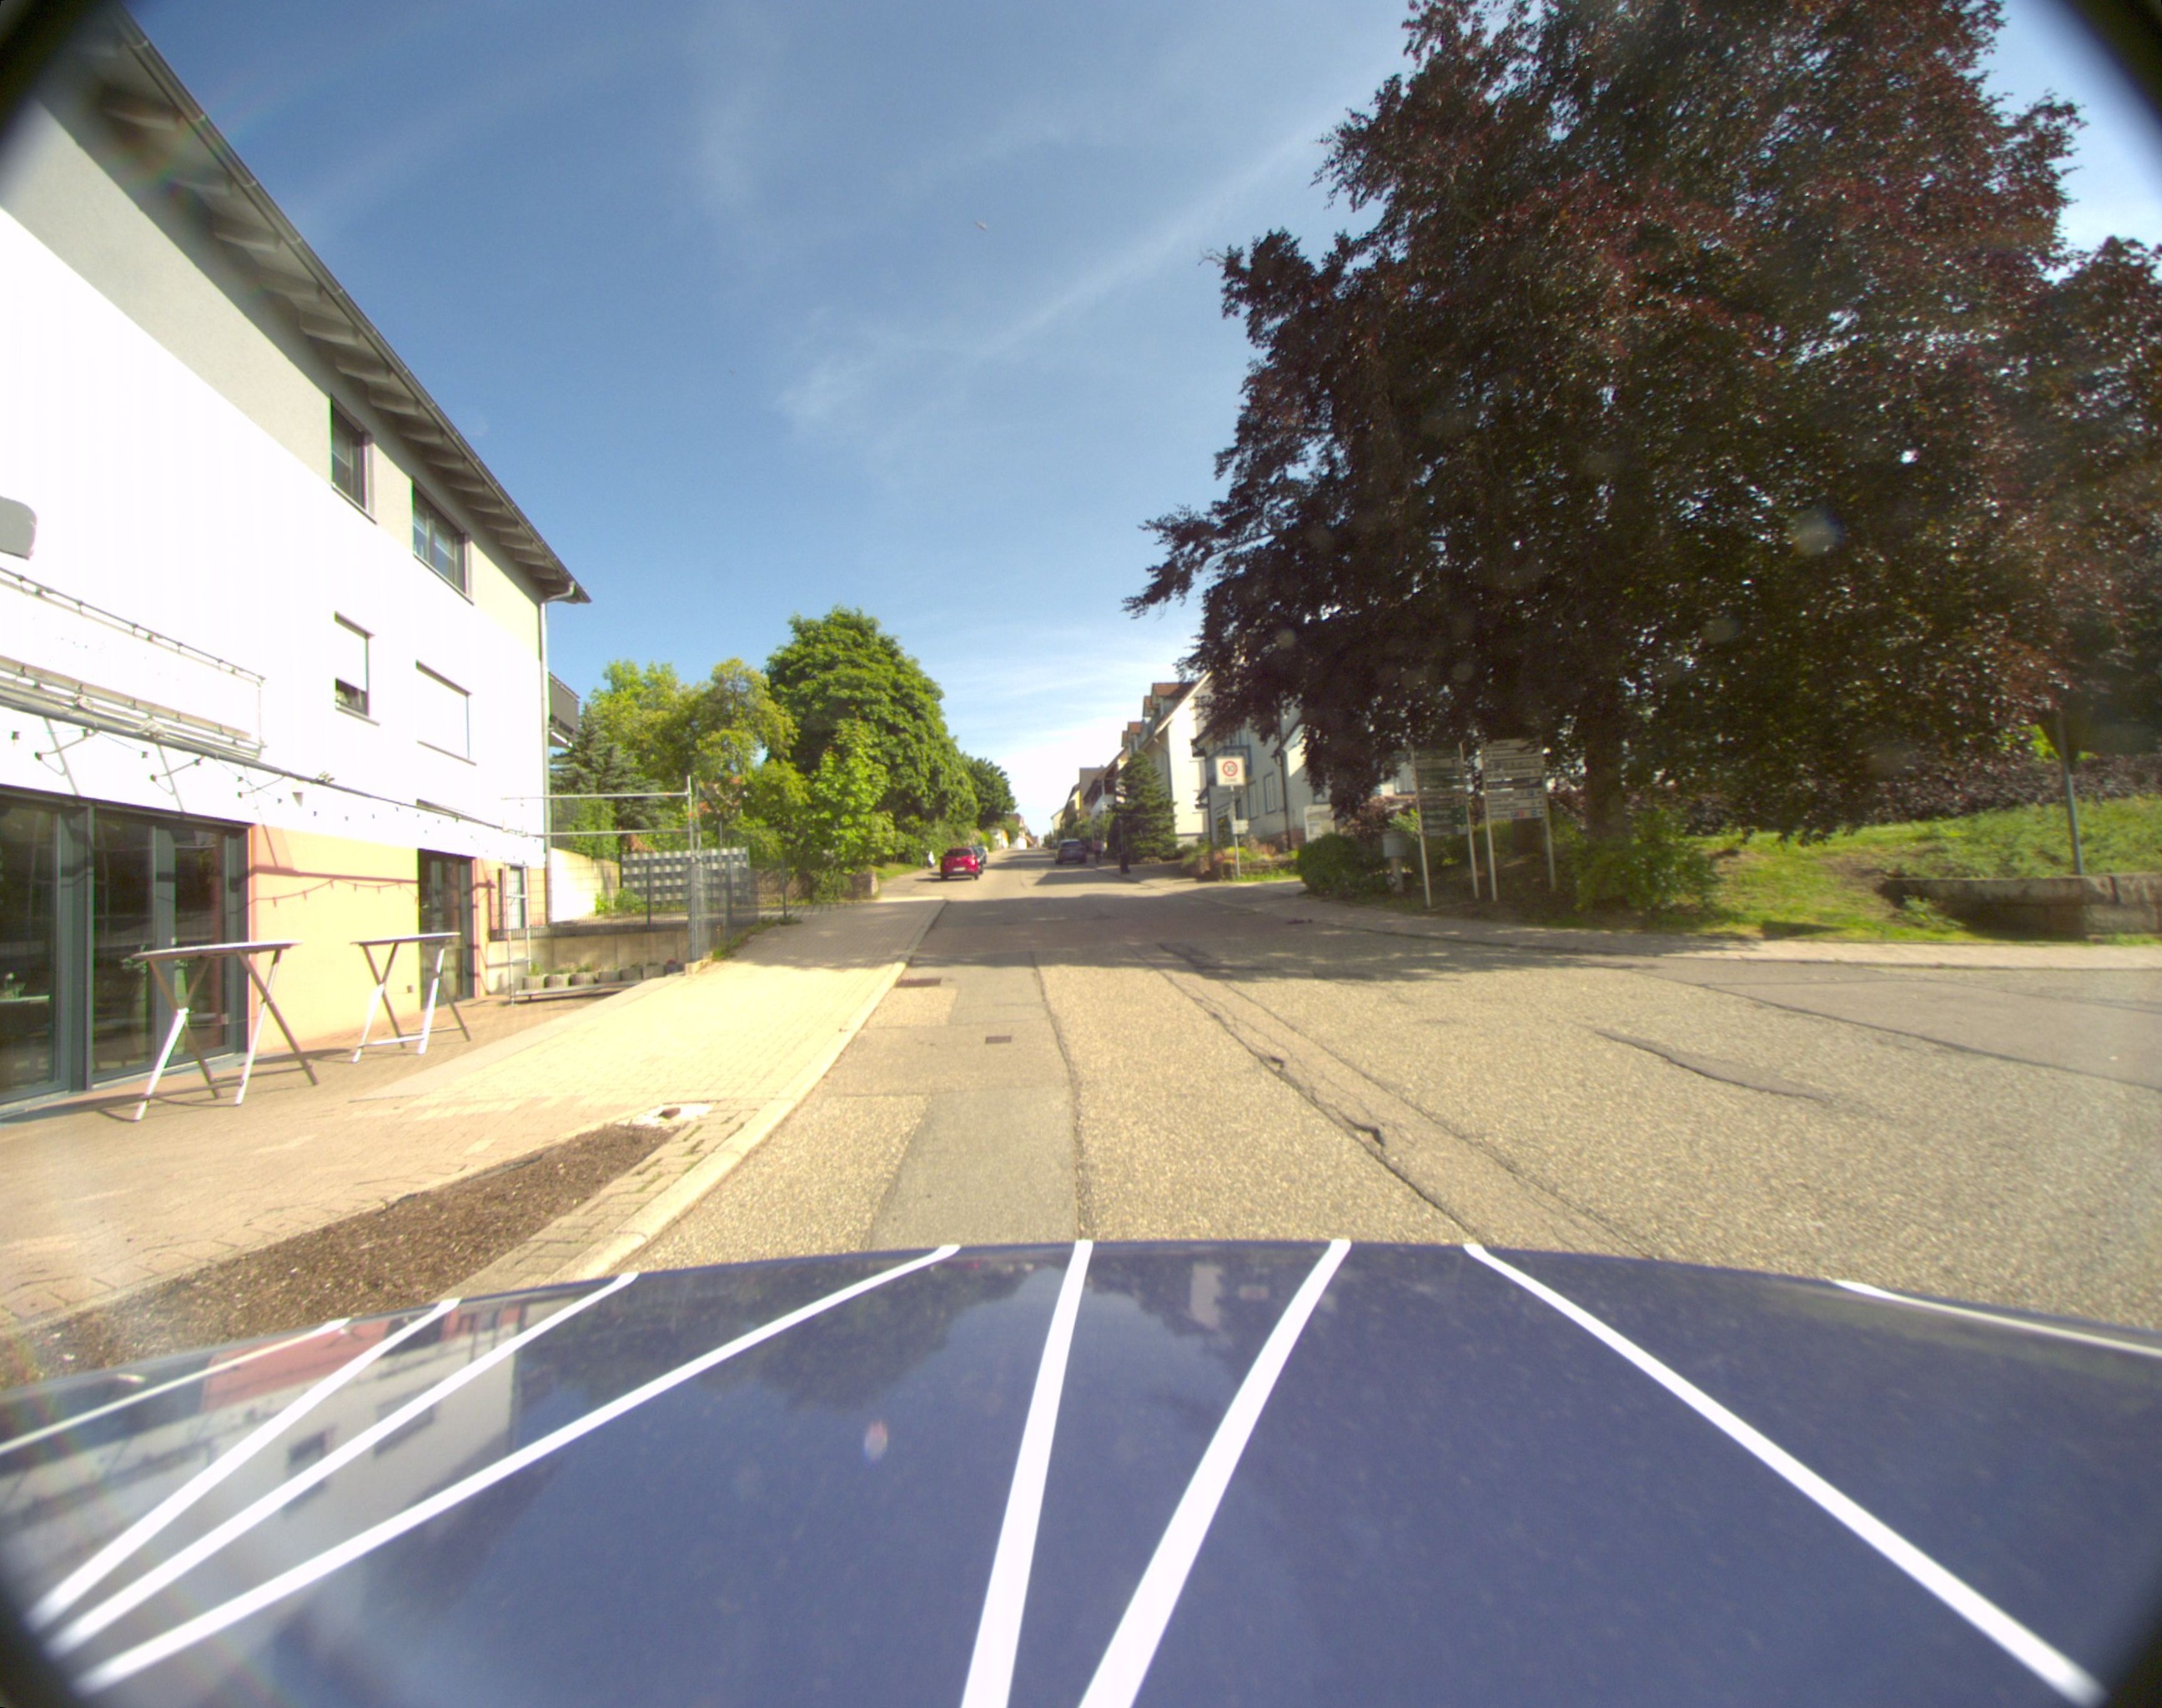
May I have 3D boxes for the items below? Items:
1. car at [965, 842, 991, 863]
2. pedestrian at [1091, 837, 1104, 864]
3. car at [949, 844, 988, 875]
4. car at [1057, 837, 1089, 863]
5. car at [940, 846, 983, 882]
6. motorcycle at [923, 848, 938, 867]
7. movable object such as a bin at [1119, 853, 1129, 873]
[{"bbox_3d":[-8.015,-0.132,59.193,1.776,1.462,3.808,-3,1,-5],"label":"car"},{"bbox_3d":[0.986,-0.223,45.580,0.668,1.566,0.780,-2,2,1],"label":"pedestrian"},{"bbox_3d":[-6.001,0.254,40.790,1.776,1.462,3.808,-3,1,-5],"label":"car"},{"bbox_3d":[-0.593,-0.297,51.972,1.808,1.592,3.808,-3,1,-5],"label":"car"},{"bbox_3d":[-5.484,0.397,35.220,1.624,1.489,3.808,-3,1,-5],"label":"car"},{"bbox_3d":[-9.834,0.211,49.776,0.785,1.175,2.186,-2,1,-7],"label":"motorcycle"},{"bbox_3d":[1.881,0.379,32.947,0.351,0.859,0.395,-2,1,-5],"label":"movable object such as a bin"}]
